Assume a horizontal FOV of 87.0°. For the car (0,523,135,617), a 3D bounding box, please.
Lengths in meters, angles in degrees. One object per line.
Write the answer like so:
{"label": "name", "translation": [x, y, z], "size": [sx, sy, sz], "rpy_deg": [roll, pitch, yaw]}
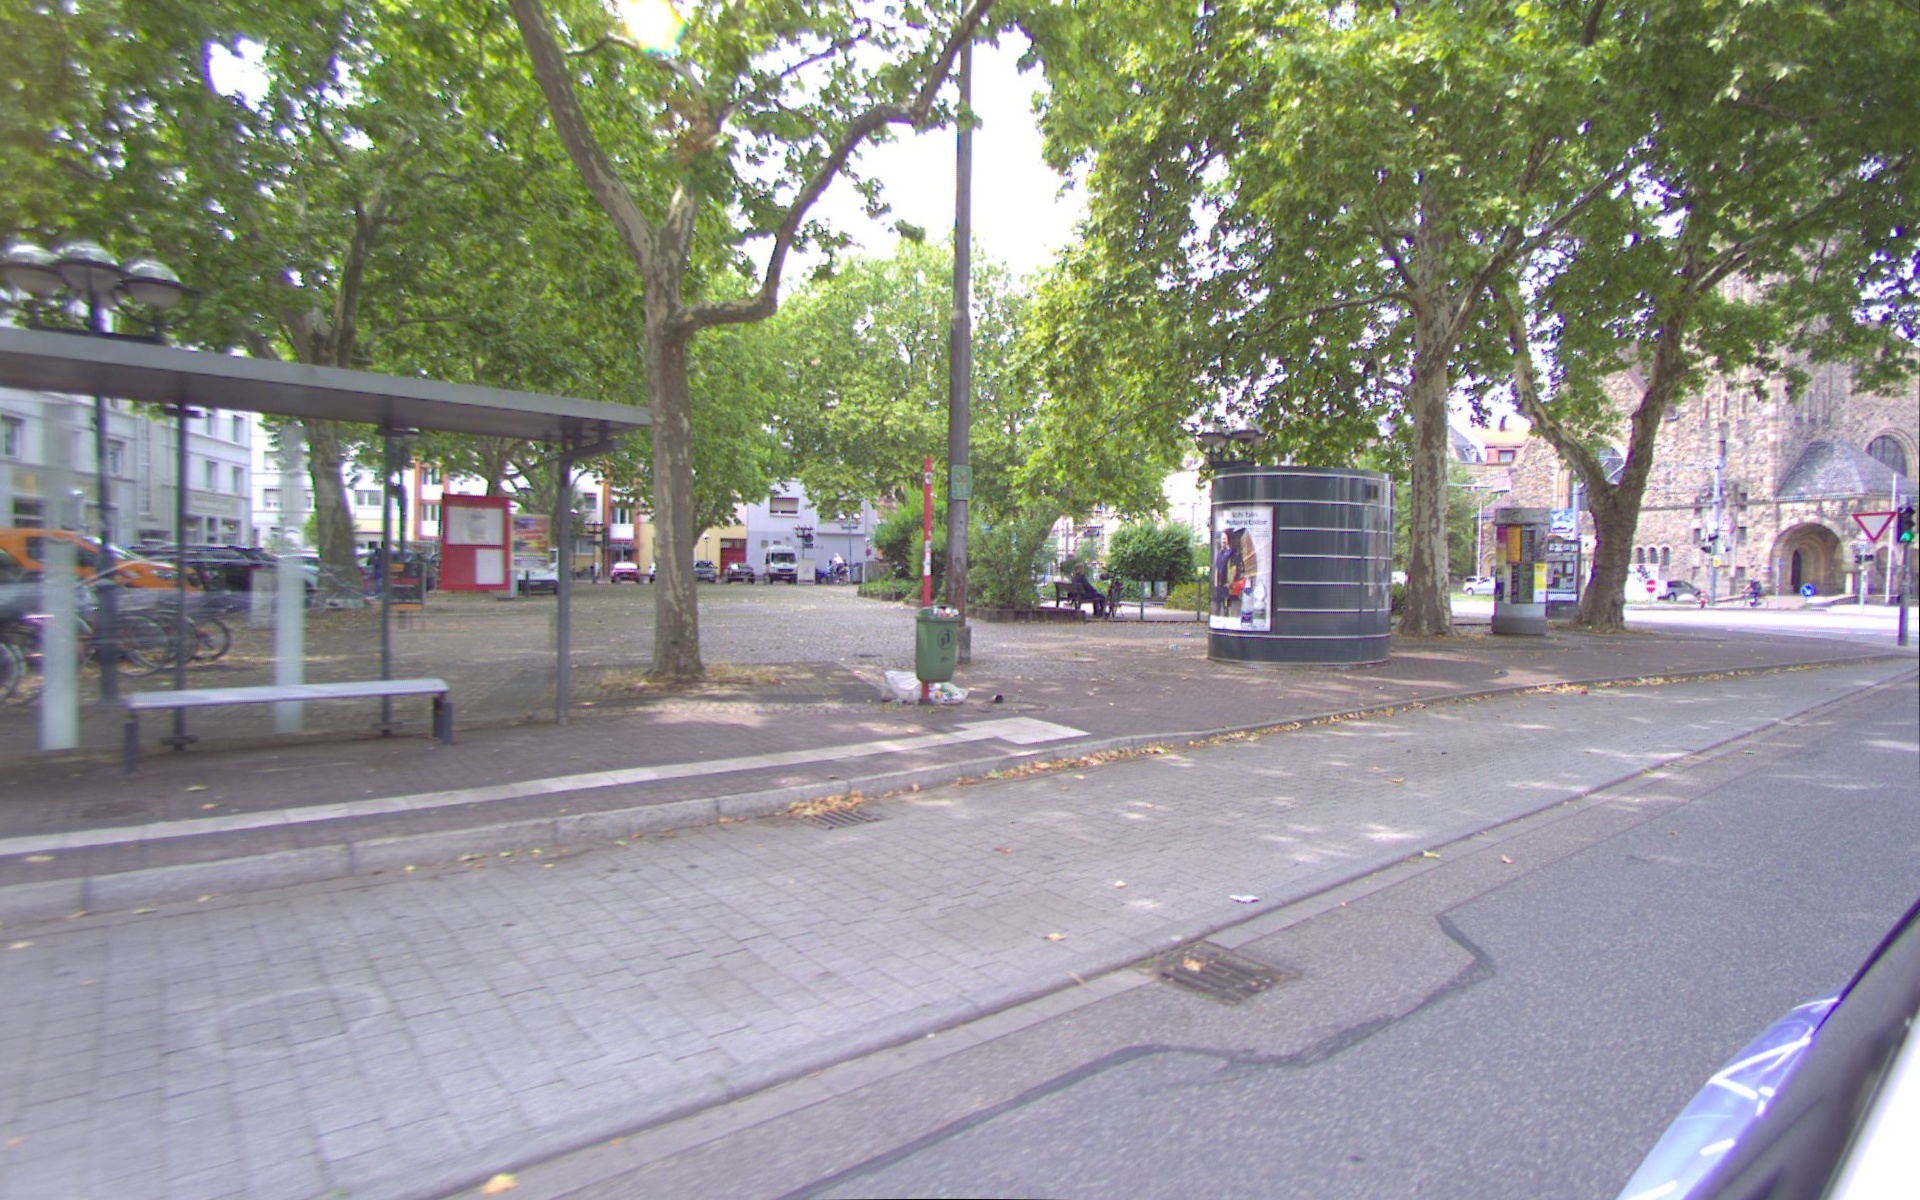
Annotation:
{"label": "car", "translation": [-16.413, -0.516, 16.683], "size": [3.916, 1.482, 2.005], "rpy_deg": [0, 2, -20]}

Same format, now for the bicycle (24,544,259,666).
{"label": "bicycle", "translation": [-9.634, 0.057, 11.968], "size": [2.264, 1.395, 0.421], "rpy_deg": [1, 1, -8]}

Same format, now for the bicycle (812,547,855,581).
{"label": "bicycle", "translation": [-6.680, -1.889, 53.395], "size": [2.159, 1.727, 0.717], "rpy_deg": [2, 1, 23]}

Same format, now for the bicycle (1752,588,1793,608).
{"label": "bicycle", "translation": [45.281, -0.095, 56.423], "size": [1.803, 1.099, 0.590], "rpy_deg": [0, 0, 39]}

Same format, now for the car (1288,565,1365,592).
{"label": "car", "translation": [20.313, -1.197, 56.296], "size": [1.800, 1.400, 4.298], "rpy_deg": [1, 1, -16]}

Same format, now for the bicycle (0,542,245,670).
{"label": "bicycle", "translation": [-9.442, 0.070, 11.464], "size": [2.264, 1.395, 0.421], "rpy_deg": [1, 1, -8]}

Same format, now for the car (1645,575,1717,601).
{"label": "car", "translation": [49.839, -0.847, 70.008], "size": [3.916, 1.671, 2.005], "rpy_deg": [1, 1, -15]}

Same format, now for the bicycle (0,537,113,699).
{"label": "bicycle", "translation": [-8.934, 0.122, 8.986], "size": [2.264, 1.395, 0.421], "rpy_deg": [2, 1, -8]}

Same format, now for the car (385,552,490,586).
{"label": "car", "translation": [-24.886, -1.476, 48.303], "size": [4.018, 1.501, 2.003], "rpy_deg": [1, 2, -6]}

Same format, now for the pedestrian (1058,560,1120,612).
{"label": "pedestrian", "translation": [3.082, -0.346, 24.334], "size": [1.117, 1.228, 1.102], "rpy_deg": [0, 2, -15]}

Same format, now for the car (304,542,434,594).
{"label": "car", "translation": [-21.984, -1.185, 37.835], "size": [3.916, 1.838, 1.922], "rpy_deg": [0, 2, -21]}

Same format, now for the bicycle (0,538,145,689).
{"label": "bicycle", "translation": [-9.129, 0.106, 9.605], "size": [2.264, 1.395, 0.421], "rpy_deg": [1, 1, -8]}

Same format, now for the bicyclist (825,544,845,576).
{"label": "bicyclist", "translation": [-6.597, -2.104, 53.341], "size": [0.858, 1.673, 0.557], "rpy_deg": [2, 1, 24]}

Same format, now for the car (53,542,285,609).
{"label": "car", "translation": [-18.661, -0.579, 24.102], "size": [3.916, 1.482, 2.005], "rpy_deg": [0, 2, -20]}

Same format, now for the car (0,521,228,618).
{"label": "car", "translation": [-16.839, -0.585, 19.142], "size": [4.464, 1.716, 2.005], "rpy_deg": [0, 2, -20]}

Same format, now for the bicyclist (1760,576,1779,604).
{"label": "bicyclist", "translation": [45.191, -0.565, 56.504], "size": [0.835, 1.516, 0.580], "rpy_deg": [0, 0, 39]}

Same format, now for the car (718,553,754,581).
{"label": "car", "translation": [-15.122, -2.220, 68.225], "size": [1.958, 1.838, 4.010], "rpy_deg": [1, 2, -18]}

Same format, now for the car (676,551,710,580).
{"label": "car", "translation": [-17.863, -2.327, 67.591], "size": [1.958, 1.838, 4.010], "rpy_deg": [1, 2, -18]}

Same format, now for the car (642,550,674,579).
{"label": "car", "translation": [-20.059, -2.328, 67.065], "size": [1.958, 1.838, 4.010], "rpy_deg": [1, 2, -18]}

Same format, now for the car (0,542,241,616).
{"label": "car", "translation": [-18.021, -0.453, 21.643], "size": [3.916, 1.482, 2.005], "rpy_deg": [0, 2, -20]}

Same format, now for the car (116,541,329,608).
{"label": "car", "translation": [-19.186, -0.661, 26.580], "size": [4.116, 1.638, 2.005], "rpy_deg": [0, 2, -20]}

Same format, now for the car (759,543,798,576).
{"label": "car", "translation": [-12.604, -2.803, 70.274], "size": [1.958, 2.134, 4.037], "rpy_deg": [1, 2, -20]}

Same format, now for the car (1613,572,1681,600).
{"label": "car", "translation": [49.523, -1.012, 72.963], "size": [3.871, 1.905, 2.005], "rpy_deg": [1, 1, -15]}

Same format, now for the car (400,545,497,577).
{"label": "car", "translation": [-26.128, -1.971, 51.812], "size": [4.018, 1.501, 2.003], "rpy_deg": [1, 2, -6]}

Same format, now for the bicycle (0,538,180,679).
{"label": "bicycle", "translation": [-9.261, 0.083, 10.237], "size": [2.264, 1.395, 0.421], "rpy_deg": [1, 1, -8]}

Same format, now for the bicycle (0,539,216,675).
{"label": "bicycle", "translation": [-9.374, 0.070, 10.893], "size": [2.264, 1.395, 0.421], "rpy_deg": [1, 1, -8]}

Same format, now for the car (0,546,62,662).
{"label": "car", "translation": [-15.457, 0.020, 14.105], "size": [3.916, 1.618, 2.005], "rpy_deg": [0, 2, -20]}

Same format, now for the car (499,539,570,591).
{"label": "car", "translation": [-16.315, -1.345, 38.985], "size": [1.958, 1.838, 4.343], "rpy_deg": [1, 2, -16]}

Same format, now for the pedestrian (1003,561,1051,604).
{"label": "pedestrian", "translation": [1.921, -0.505, 29.062], "size": [1.100, 1.215, 0.891], "rpy_deg": [1, 1, -18]}

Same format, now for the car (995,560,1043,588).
{"label": "car", "translation": [4.231, -1.911, 73.455], "size": [1.958, 1.901, 4.392], "rpy_deg": [1, 1, -19]}
